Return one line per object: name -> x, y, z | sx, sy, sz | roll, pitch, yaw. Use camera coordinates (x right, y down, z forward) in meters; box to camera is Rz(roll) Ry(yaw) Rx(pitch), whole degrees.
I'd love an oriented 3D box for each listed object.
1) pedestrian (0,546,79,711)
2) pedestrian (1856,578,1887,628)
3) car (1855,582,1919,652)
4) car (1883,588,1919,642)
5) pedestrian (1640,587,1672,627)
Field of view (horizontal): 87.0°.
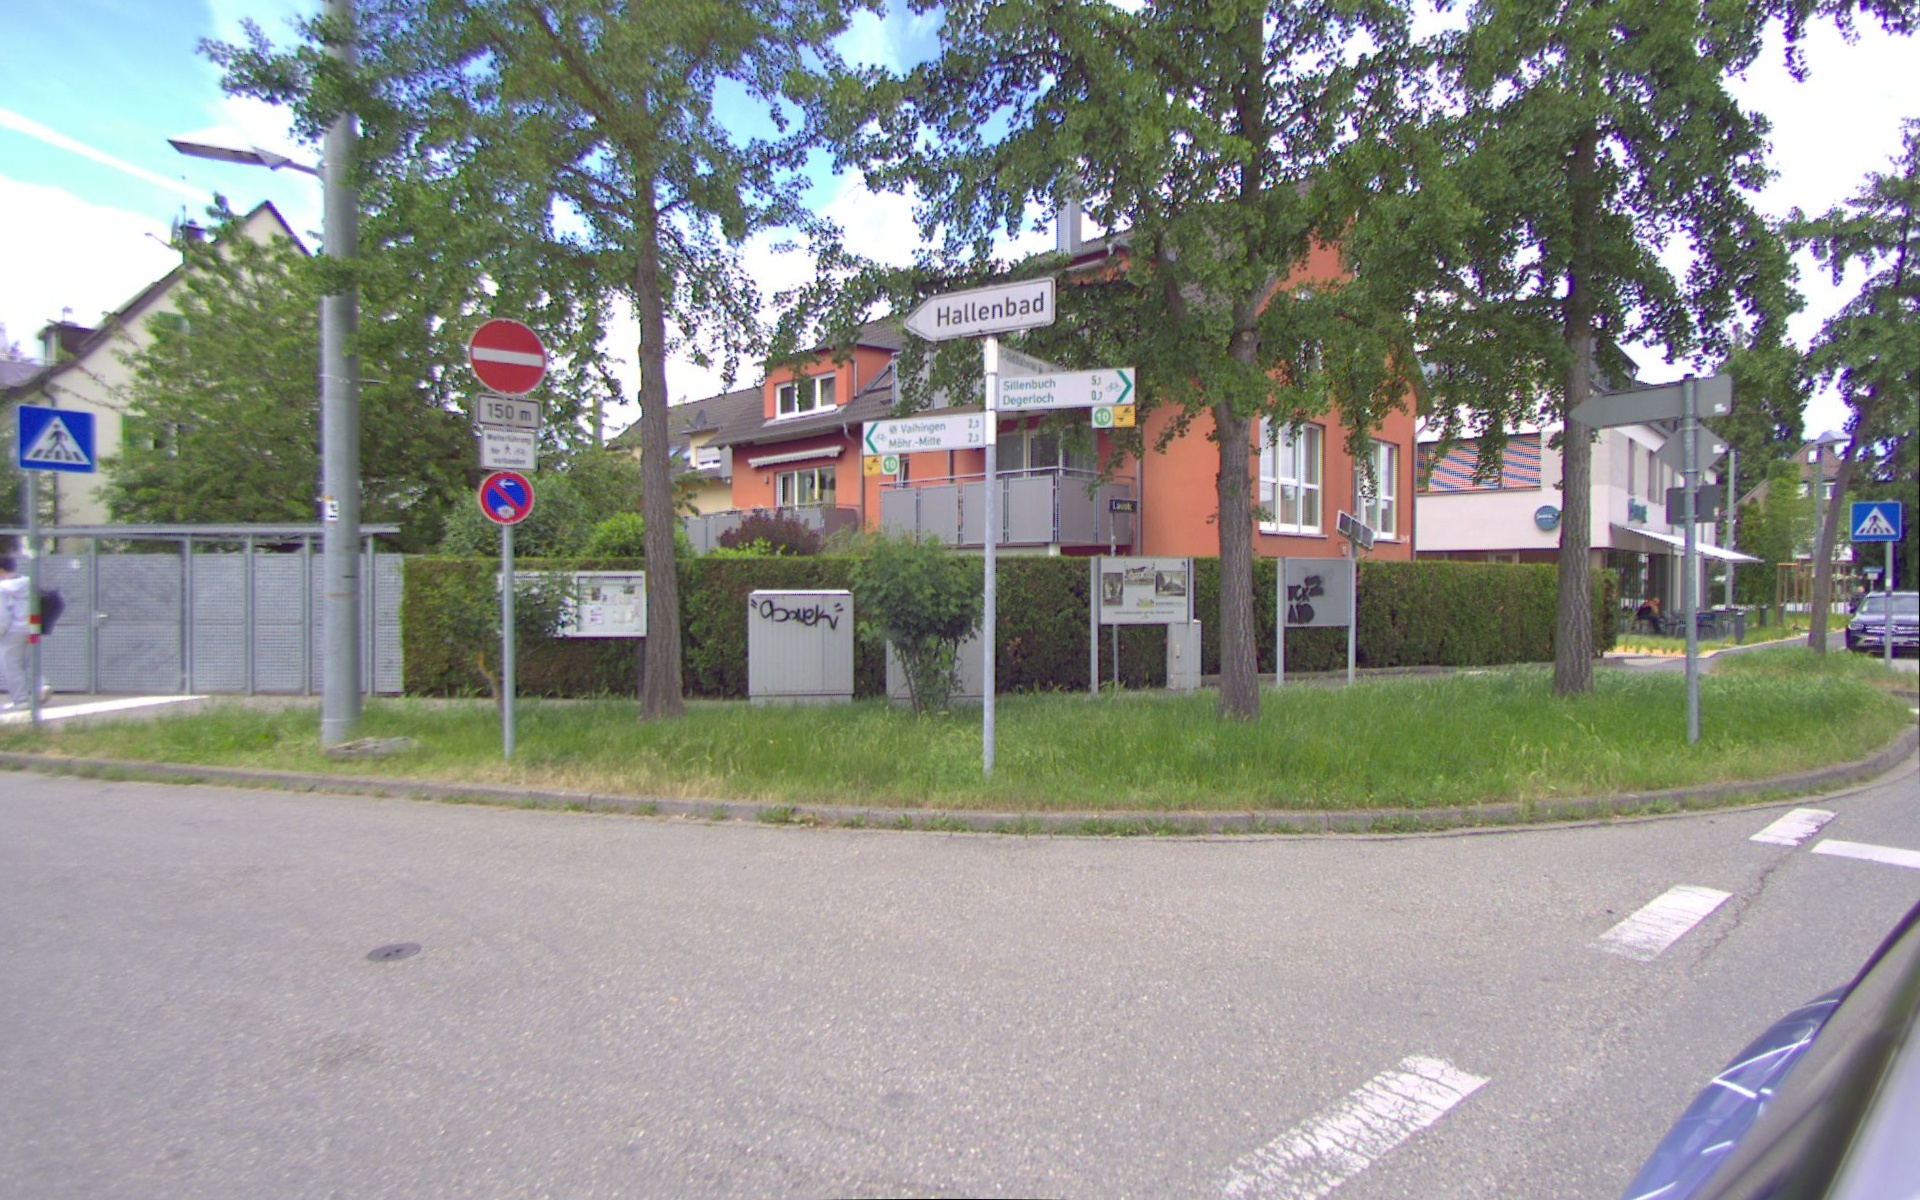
pedestrian -> -11.318, 0.326, 12.219 | 0.814, 1.938, 0.627 | 1, 1, -6
pedestrian -> 31.193, 0.100, 34.637 | 0.648, 1.689, 0.677 | -1, 2, -42
car -> 24.184, 0.370, 25.718 | 4.393, 1.657, 1.848 | -1, 0, -45
car -> 28.091, 0.398, 29.326 | 3.771, 1.470, 1.708 | -1, 0, -44
pedestrian -> 22.138, 0.212, 32.192 | 0.750, 1.254, 0.681 | 1, 1, 42
